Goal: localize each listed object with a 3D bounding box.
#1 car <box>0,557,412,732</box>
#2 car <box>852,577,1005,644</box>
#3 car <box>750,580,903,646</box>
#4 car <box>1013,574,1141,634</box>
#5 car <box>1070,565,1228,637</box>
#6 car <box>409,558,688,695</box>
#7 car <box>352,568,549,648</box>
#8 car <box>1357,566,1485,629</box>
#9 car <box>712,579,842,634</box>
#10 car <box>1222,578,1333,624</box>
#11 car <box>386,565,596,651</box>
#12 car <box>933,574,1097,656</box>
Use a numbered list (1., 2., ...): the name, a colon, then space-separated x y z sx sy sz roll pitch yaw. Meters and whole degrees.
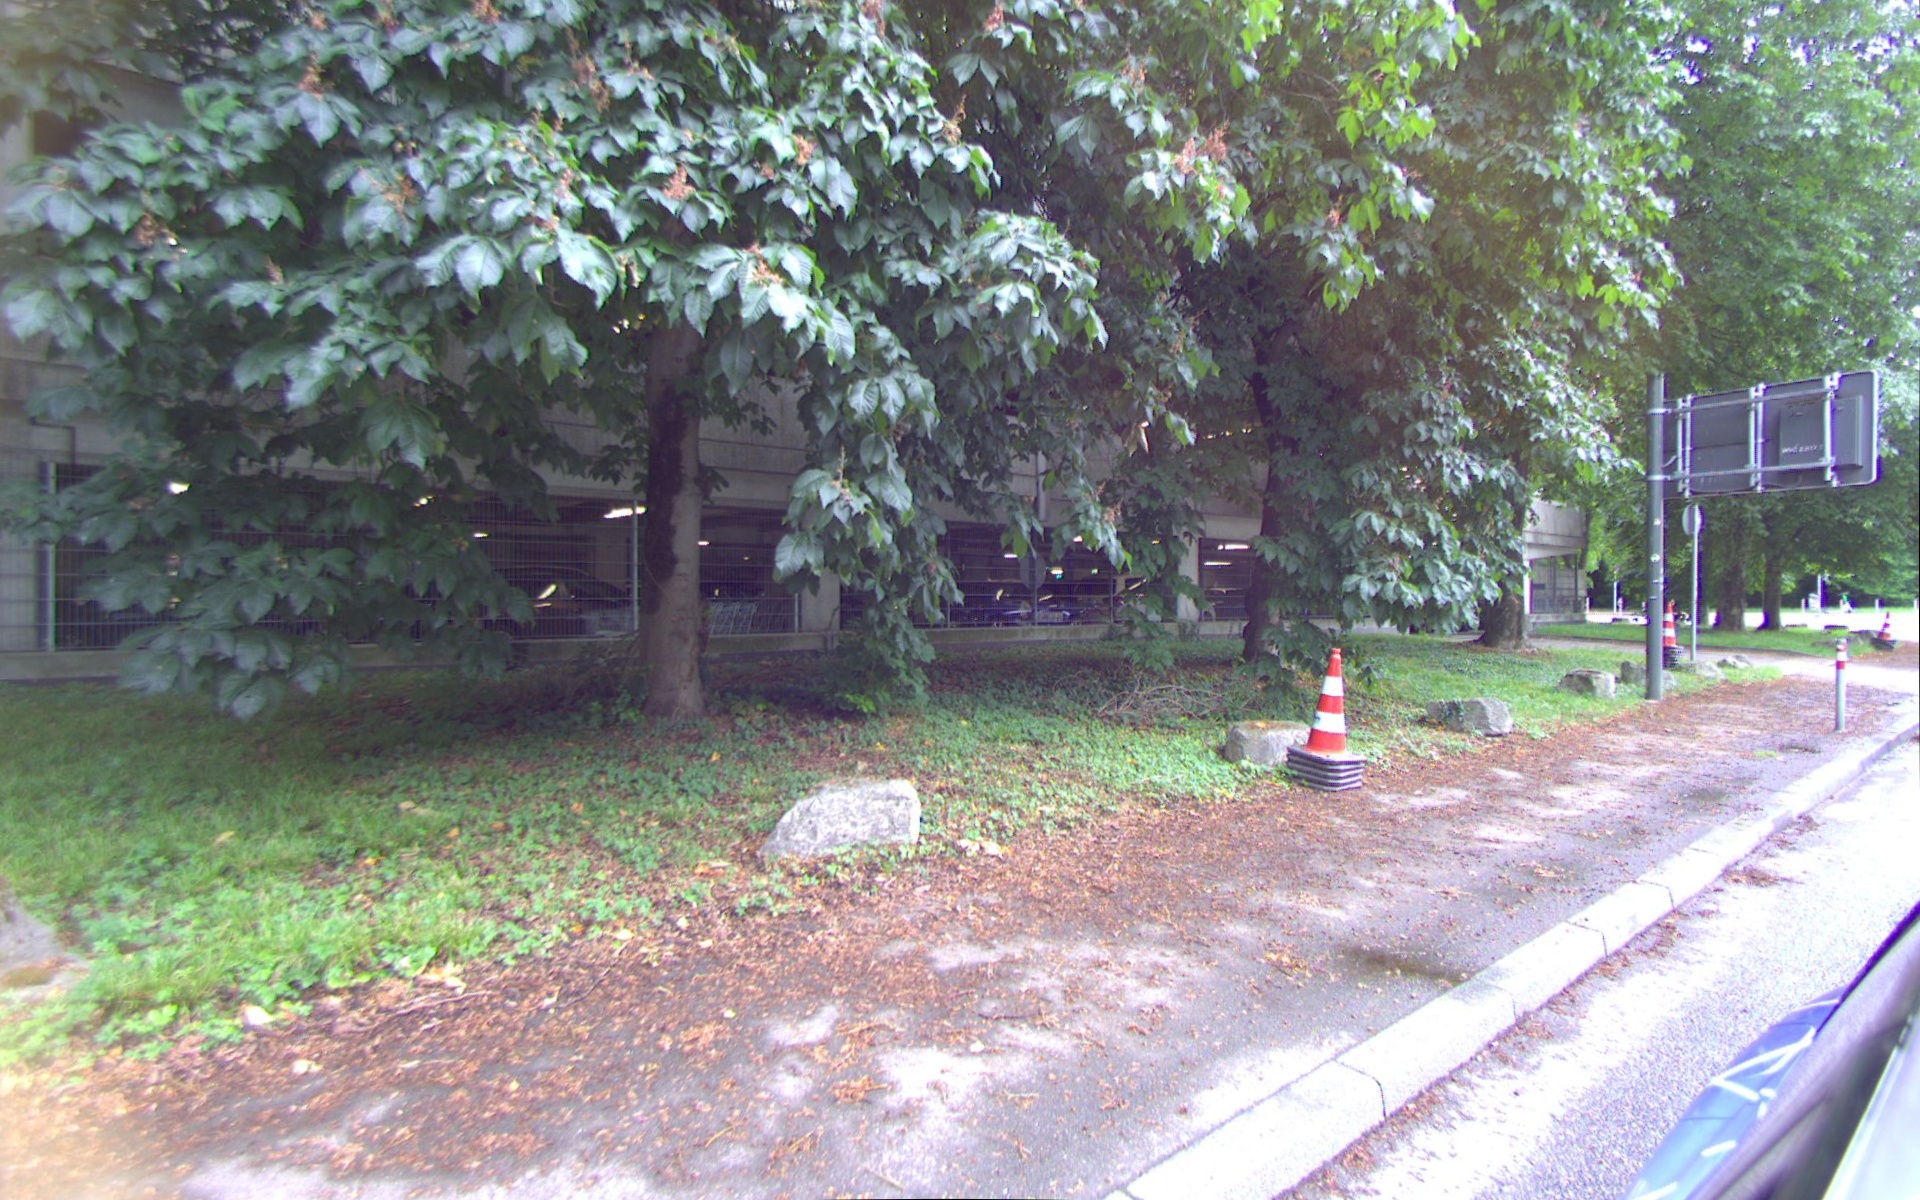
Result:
1. car: -10.335 0.474 13.895 4.594 2.039 1.996 -2 0 -41
2. car: -0.764 0.229 25.798 3.639 1.565 1.718 -2 1 -42
3. car: -3.452 0.295 26.542 3.639 1.565 1.718 -2 1 -42
4. car: 3.446 0.086 29.413 3.629 1.606 1.718 -2 1 -42
5. car: 5.073 -0.025 26.818 4.587 1.730 1.588 -2 0 -41
6. car: -6.874 0.347 17.081 3.929 2.039 1.997 -2 0 -40
7. car: -11.447 0.140 22.845 3.639 1.627 1.718 -2 1 -42
8. car: 14.541 -0.079 31.806 4.653 1.858 1.922 -1 0 -41
9. car: -5.719 0.180 31.858 3.638 1.565 1.719 -2 1 -41
10. car: 11.360 0.012 36.144 3.927 1.471 1.876 -2 1 -38
11. car: -9.758 0.111 21.201 3.639 1.627 1.718 -2 1 -42
12. car: 1.350 0.297 23.805 3.791 1.730 1.588 -2 0 -41
